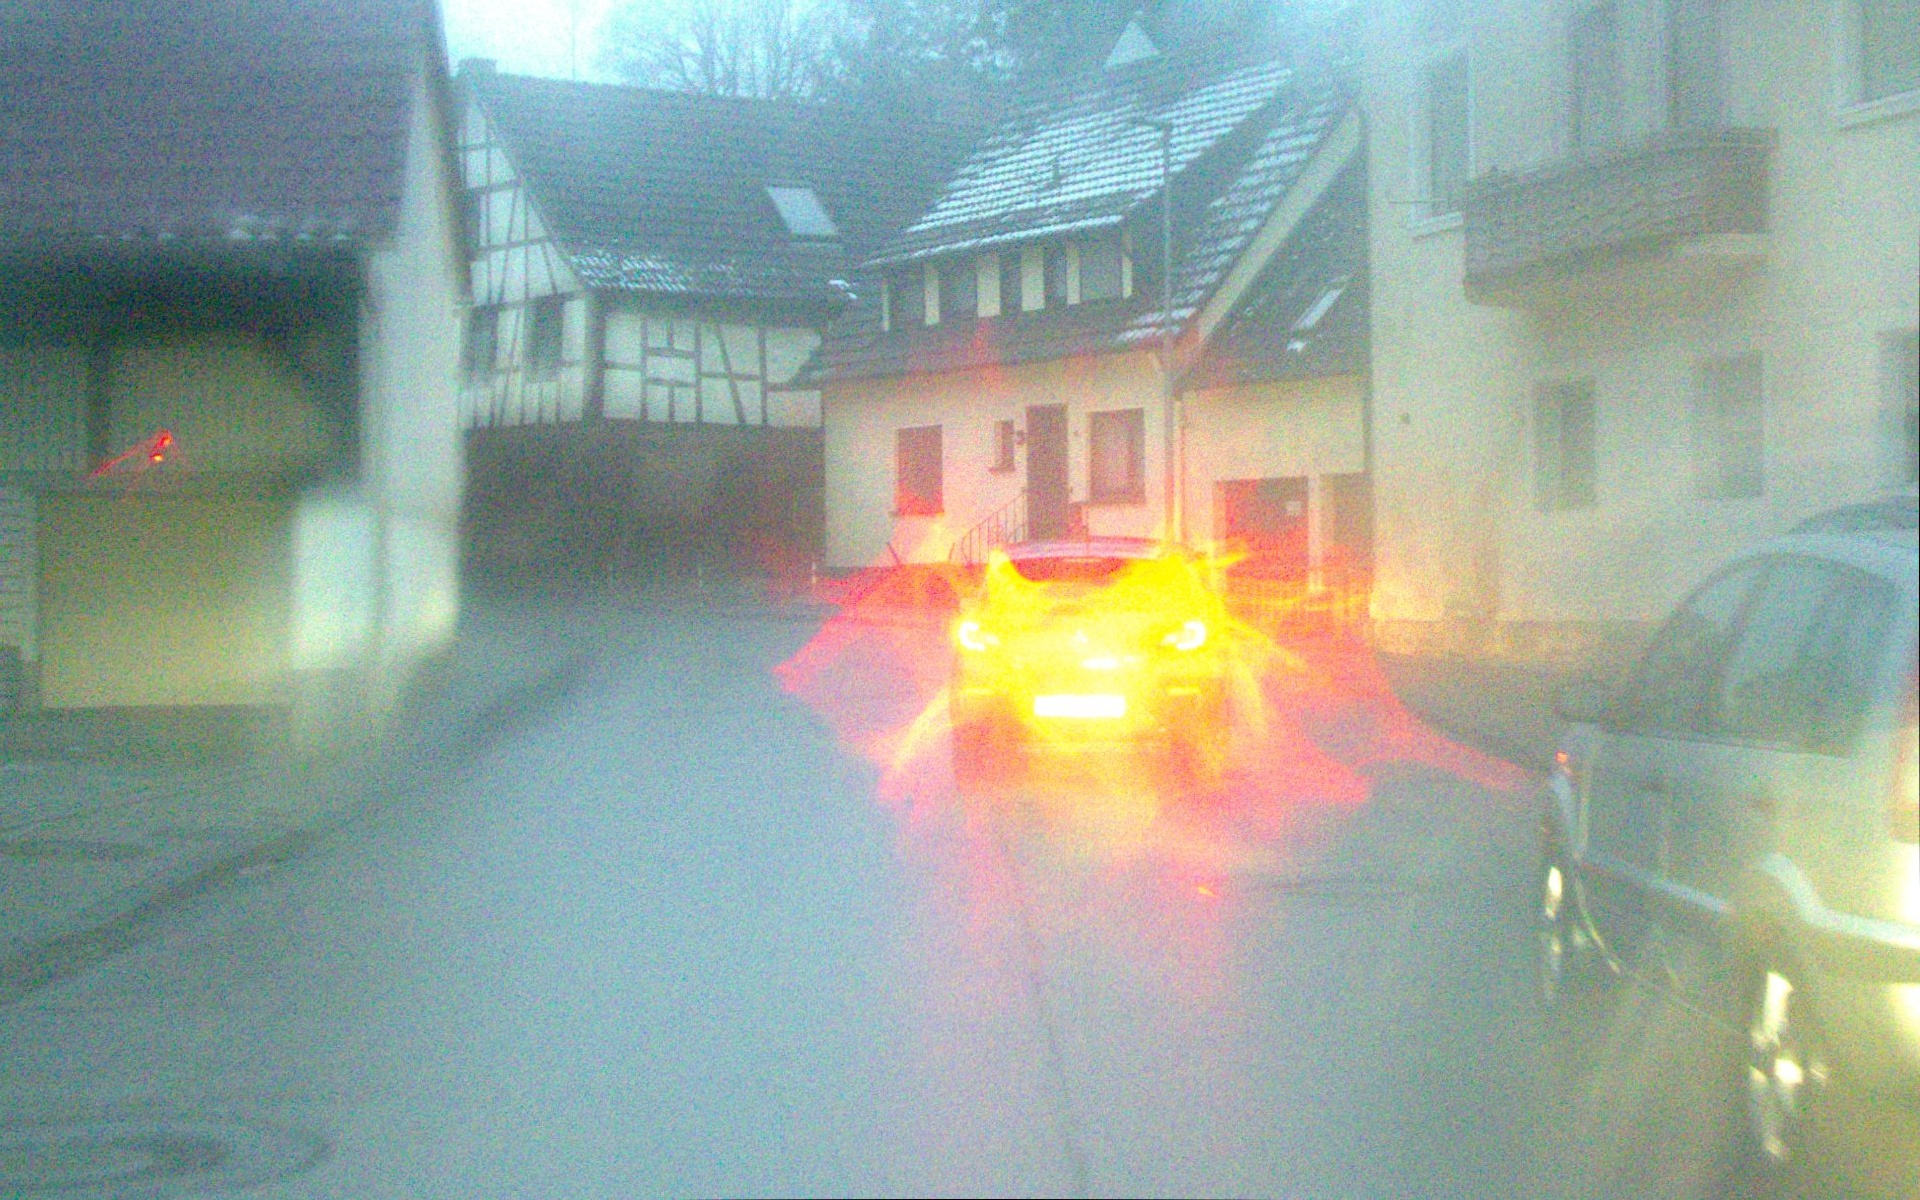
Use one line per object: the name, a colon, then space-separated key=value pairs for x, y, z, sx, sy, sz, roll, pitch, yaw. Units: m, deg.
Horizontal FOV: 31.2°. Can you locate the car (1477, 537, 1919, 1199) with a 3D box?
car: x=2.522 y=0.600 z=8.749 sx=1.638 sy=1.489 sz=4.001 roll=1 pitch=1 yaw=-2

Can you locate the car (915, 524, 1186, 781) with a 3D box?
car: x=0.591 y=0.266 z=21.661 sx=1.546 sy=1.461 sz=3.698 roll=1 pitch=1 yaw=2

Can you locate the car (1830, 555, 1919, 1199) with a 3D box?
car: x=2.541 y=0.699 z=4.495 sx=1.638 sy=1.466 sz=4.001 roll=1 pitch=1 yaw=-2

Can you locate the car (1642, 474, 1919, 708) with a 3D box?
car: x=6.504 y=-0.097 z=23.548 sx=1.806 sy=1.482 sz=4.279 roll=-3 pitch=1 yaw=-15
